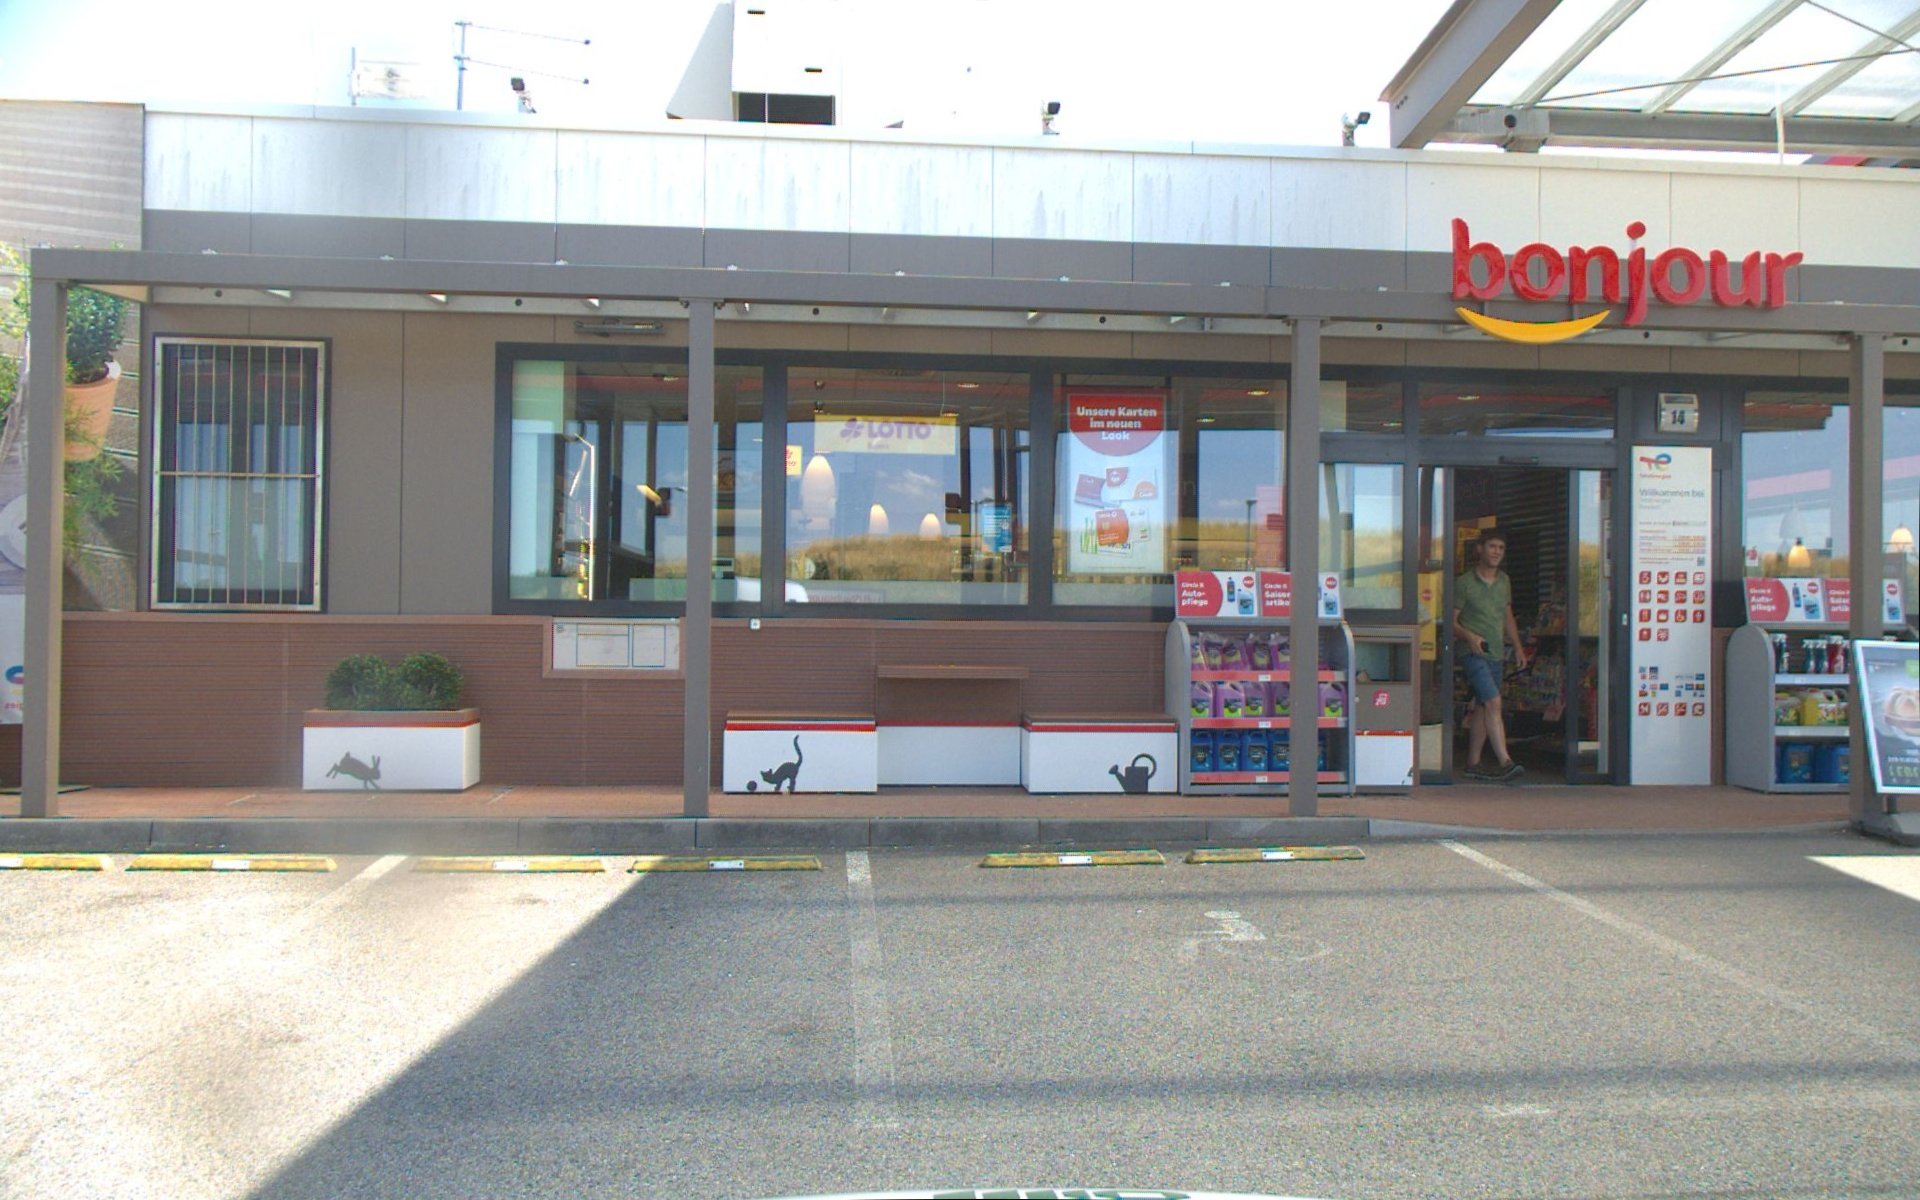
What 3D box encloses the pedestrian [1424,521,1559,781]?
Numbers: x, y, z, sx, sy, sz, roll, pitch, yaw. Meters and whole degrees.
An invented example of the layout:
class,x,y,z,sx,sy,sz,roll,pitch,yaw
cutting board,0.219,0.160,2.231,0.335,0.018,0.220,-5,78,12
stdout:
class,x,y,z,sx,sy,sz,roll,pitch,yaw
pedestrian,3.868,0.357,12.087,0.687,1.829,0.862,0,0,-2
